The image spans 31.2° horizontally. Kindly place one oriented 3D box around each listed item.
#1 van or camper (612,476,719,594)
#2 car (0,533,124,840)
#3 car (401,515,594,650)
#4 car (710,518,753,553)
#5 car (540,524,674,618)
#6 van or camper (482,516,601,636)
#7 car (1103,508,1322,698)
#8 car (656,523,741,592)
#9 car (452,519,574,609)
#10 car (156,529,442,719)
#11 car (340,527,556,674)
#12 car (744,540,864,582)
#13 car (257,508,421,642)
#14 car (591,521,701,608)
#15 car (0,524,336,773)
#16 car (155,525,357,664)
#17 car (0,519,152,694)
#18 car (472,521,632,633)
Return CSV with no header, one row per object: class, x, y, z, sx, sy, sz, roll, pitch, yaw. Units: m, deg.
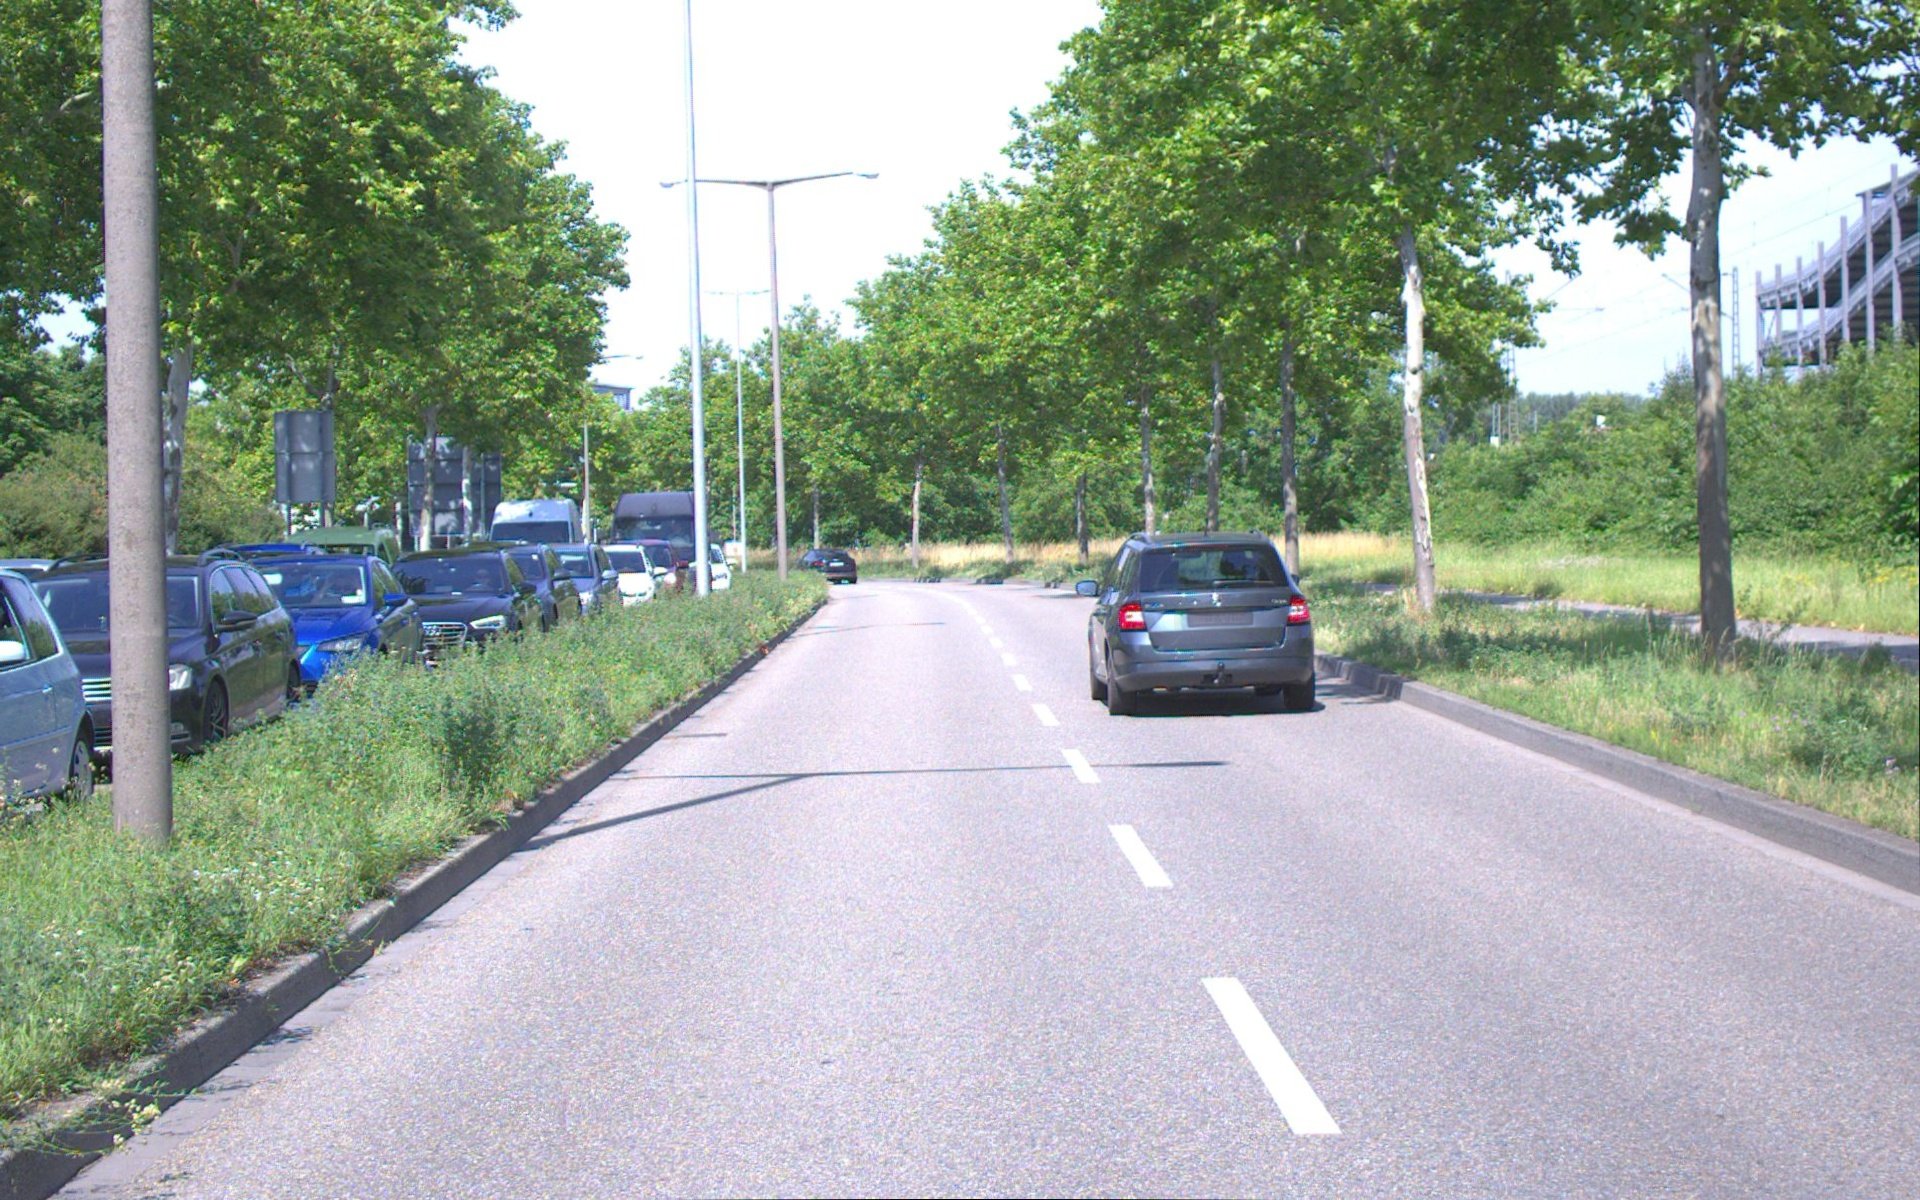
van or camper,-6.212,-1.360,72.956,1.938,2.360,5.399,-2,1,-2
car,-5.509,0.436,17.236,1.689,1.466,3.815,-2,1,-1
car,-5.971,-0.280,44.948,1.847,1.602,5.009,-2,2,-1
car,-10.692,-2.986,160.650,1.908,1.458,4.582,-2,0,-4
car,-5.842,-0.513,57.384,1.783,1.454,4.472,-2,2,-1
van or camper,-9.520,-0.602,78.531,2.015,2.579,5.517,-2,1,-1
car,2.094,-0.031,28.656,1.674,1.448,4.035,1,1,4
car,-6.108,-0.994,80.476,1.689,1.525,3.815,-2,1,-1
car,-9.222,-0.775,71.203,1.993,1.750,4.000,-2,1,-1
car,-5.734,0.151,30.285,1.784,1.484,4.212,-2,2,-2
car,-5.617,-0.044,38.179,1.823,1.460,4.451,-2,2,-2
car,-5.949,-1.505,130.705,1.909,1.458,4.619,-3,4,-45
car,-9.173,-0.389,51.062,1.689,1.852,4.037,-2,1,-1
car,-5.799,-0.688,63.811,1.689,1.505,3.815,-2,1,-1
car,-5.741,0.263,24.325,1.758,1.524,4.828,-2,2,-1
car,-8.926,-0.113,43.897,1.689,1.626,4.311,-2,1,-1
car,-8.949,0.029,32.464,1.689,1.524,3.939,-2,1,-1
car,-6.037,-0.379,51.317,1.813,1.524,4.642,-2,2,0
